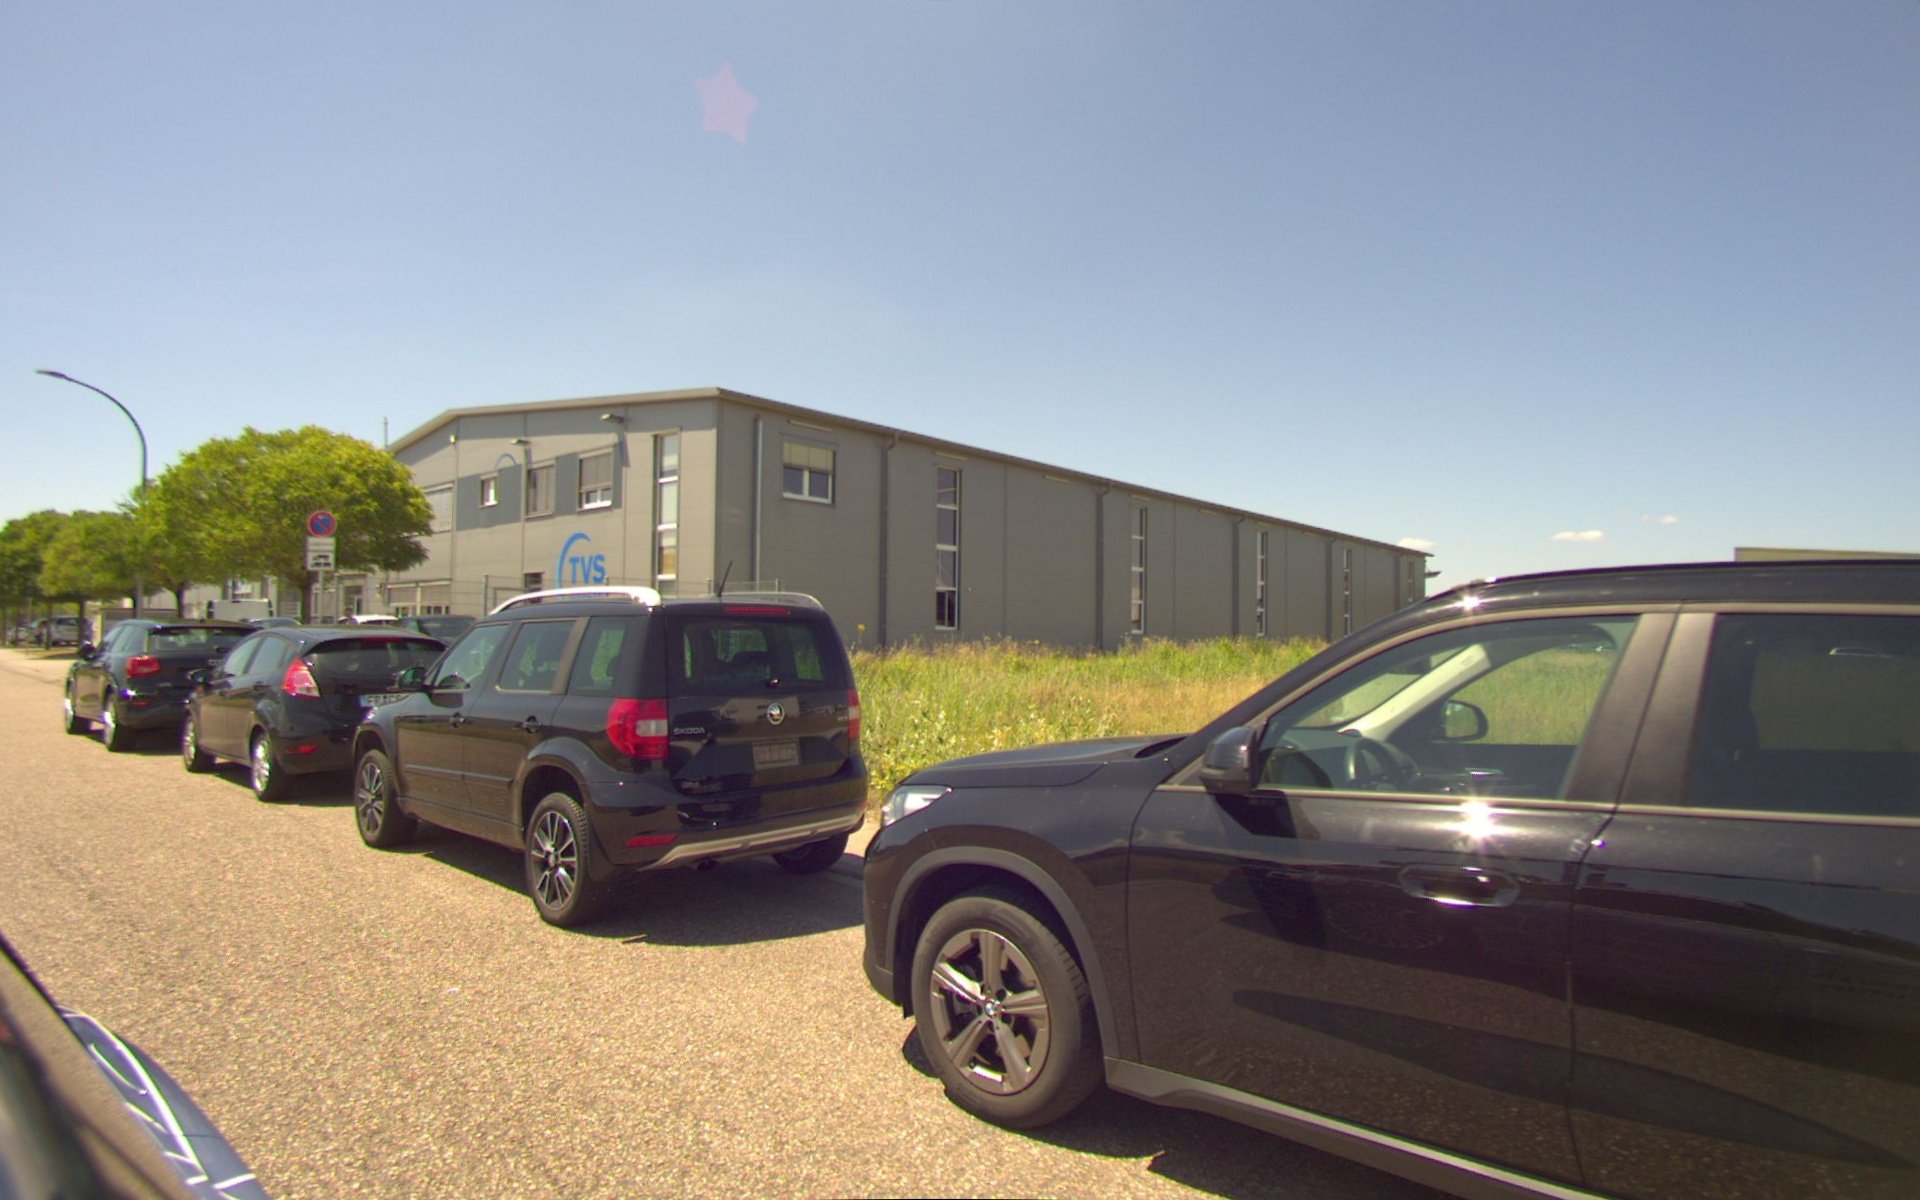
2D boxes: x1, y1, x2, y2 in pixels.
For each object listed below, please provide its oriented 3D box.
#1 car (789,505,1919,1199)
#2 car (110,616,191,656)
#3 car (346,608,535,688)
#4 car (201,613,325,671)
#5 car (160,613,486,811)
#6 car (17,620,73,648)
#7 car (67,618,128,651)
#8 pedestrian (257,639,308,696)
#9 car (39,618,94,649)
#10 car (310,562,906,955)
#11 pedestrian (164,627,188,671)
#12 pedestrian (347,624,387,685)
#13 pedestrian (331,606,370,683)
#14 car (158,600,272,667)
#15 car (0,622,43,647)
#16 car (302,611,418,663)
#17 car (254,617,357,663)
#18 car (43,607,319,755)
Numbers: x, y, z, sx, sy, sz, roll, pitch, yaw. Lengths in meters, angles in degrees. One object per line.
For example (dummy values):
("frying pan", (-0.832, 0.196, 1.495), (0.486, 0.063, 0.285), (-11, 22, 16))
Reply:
("car", (1.696, 0.731, 2.654), (4.550, 1.676, 1.750), (-2, -3, 41))
("car", (-32.397, 1.427, 40.451), (4.712, 1.464, 1.747), (-2, 0, 42))
("car", (-11.042, 0.956, 21.367), (4.688, 1.476, 1.907), (-2, 0, 40))
("car", (-20.430, 1.160, 29.581), (4.840, 1.451, 1.906), (0, 1, 42))
("car", (-6.159, 0.929, 9.620), (3.831, 1.504, 1.573), (-2, -3, 41))
("car", (-52.234, 1.937, 57.774), (3.698, 1.511, 1.667), (-2, -2, 37))
("car", (-40.386, 1.580, 47.358), (3.839, 1.464, 1.746), (-2, -1, 42))
("pedestrian", (-13.856, 1.365, 20.699), (0.742, 1.107, 0.647), (-2, 0, -45))
("car", (-48.358, 1.791, 54.735), (4.538, 1.585, 1.747), (-2, -1, 42))
("car", (-2.435, 0.754, 6.379), (4.234, 1.676, 1.659), (-2, -3, 41))
("pedestrian", (-21.463, 1.330, 27.703), (0.472, 1.159, 0.556), (-1, 2, -39))
("pedestrian", (-12.003, 1.086, 20.479), (0.753, 1.200, 0.500), (-1, 0, 44))
("pedestrian", (-13.086, 0.938, 21.735), (0.753, 1.607, 0.500), (-1, 0, 44))
("car", (-24.681, 1.097, 33.436), (5.120, 2.034, 1.819), (-2, 0, 39))
("car", (-60.520, 2.210, 65.187), (4.328, 1.511, 1.804), (-2, -1, 43))
("car", (-18.829, 1.145, 31.691), (4.464, 1.476, 1.906), (-2, 0, 42))
("car", (-22.833, 1.365, 35.267), (4.083, 1.451, 1.907), (-2, 0, 40))
("car", (-10.014, 0.949, 12.905), (4.186, 1.579, 1.907), (-2, -3, 40))
